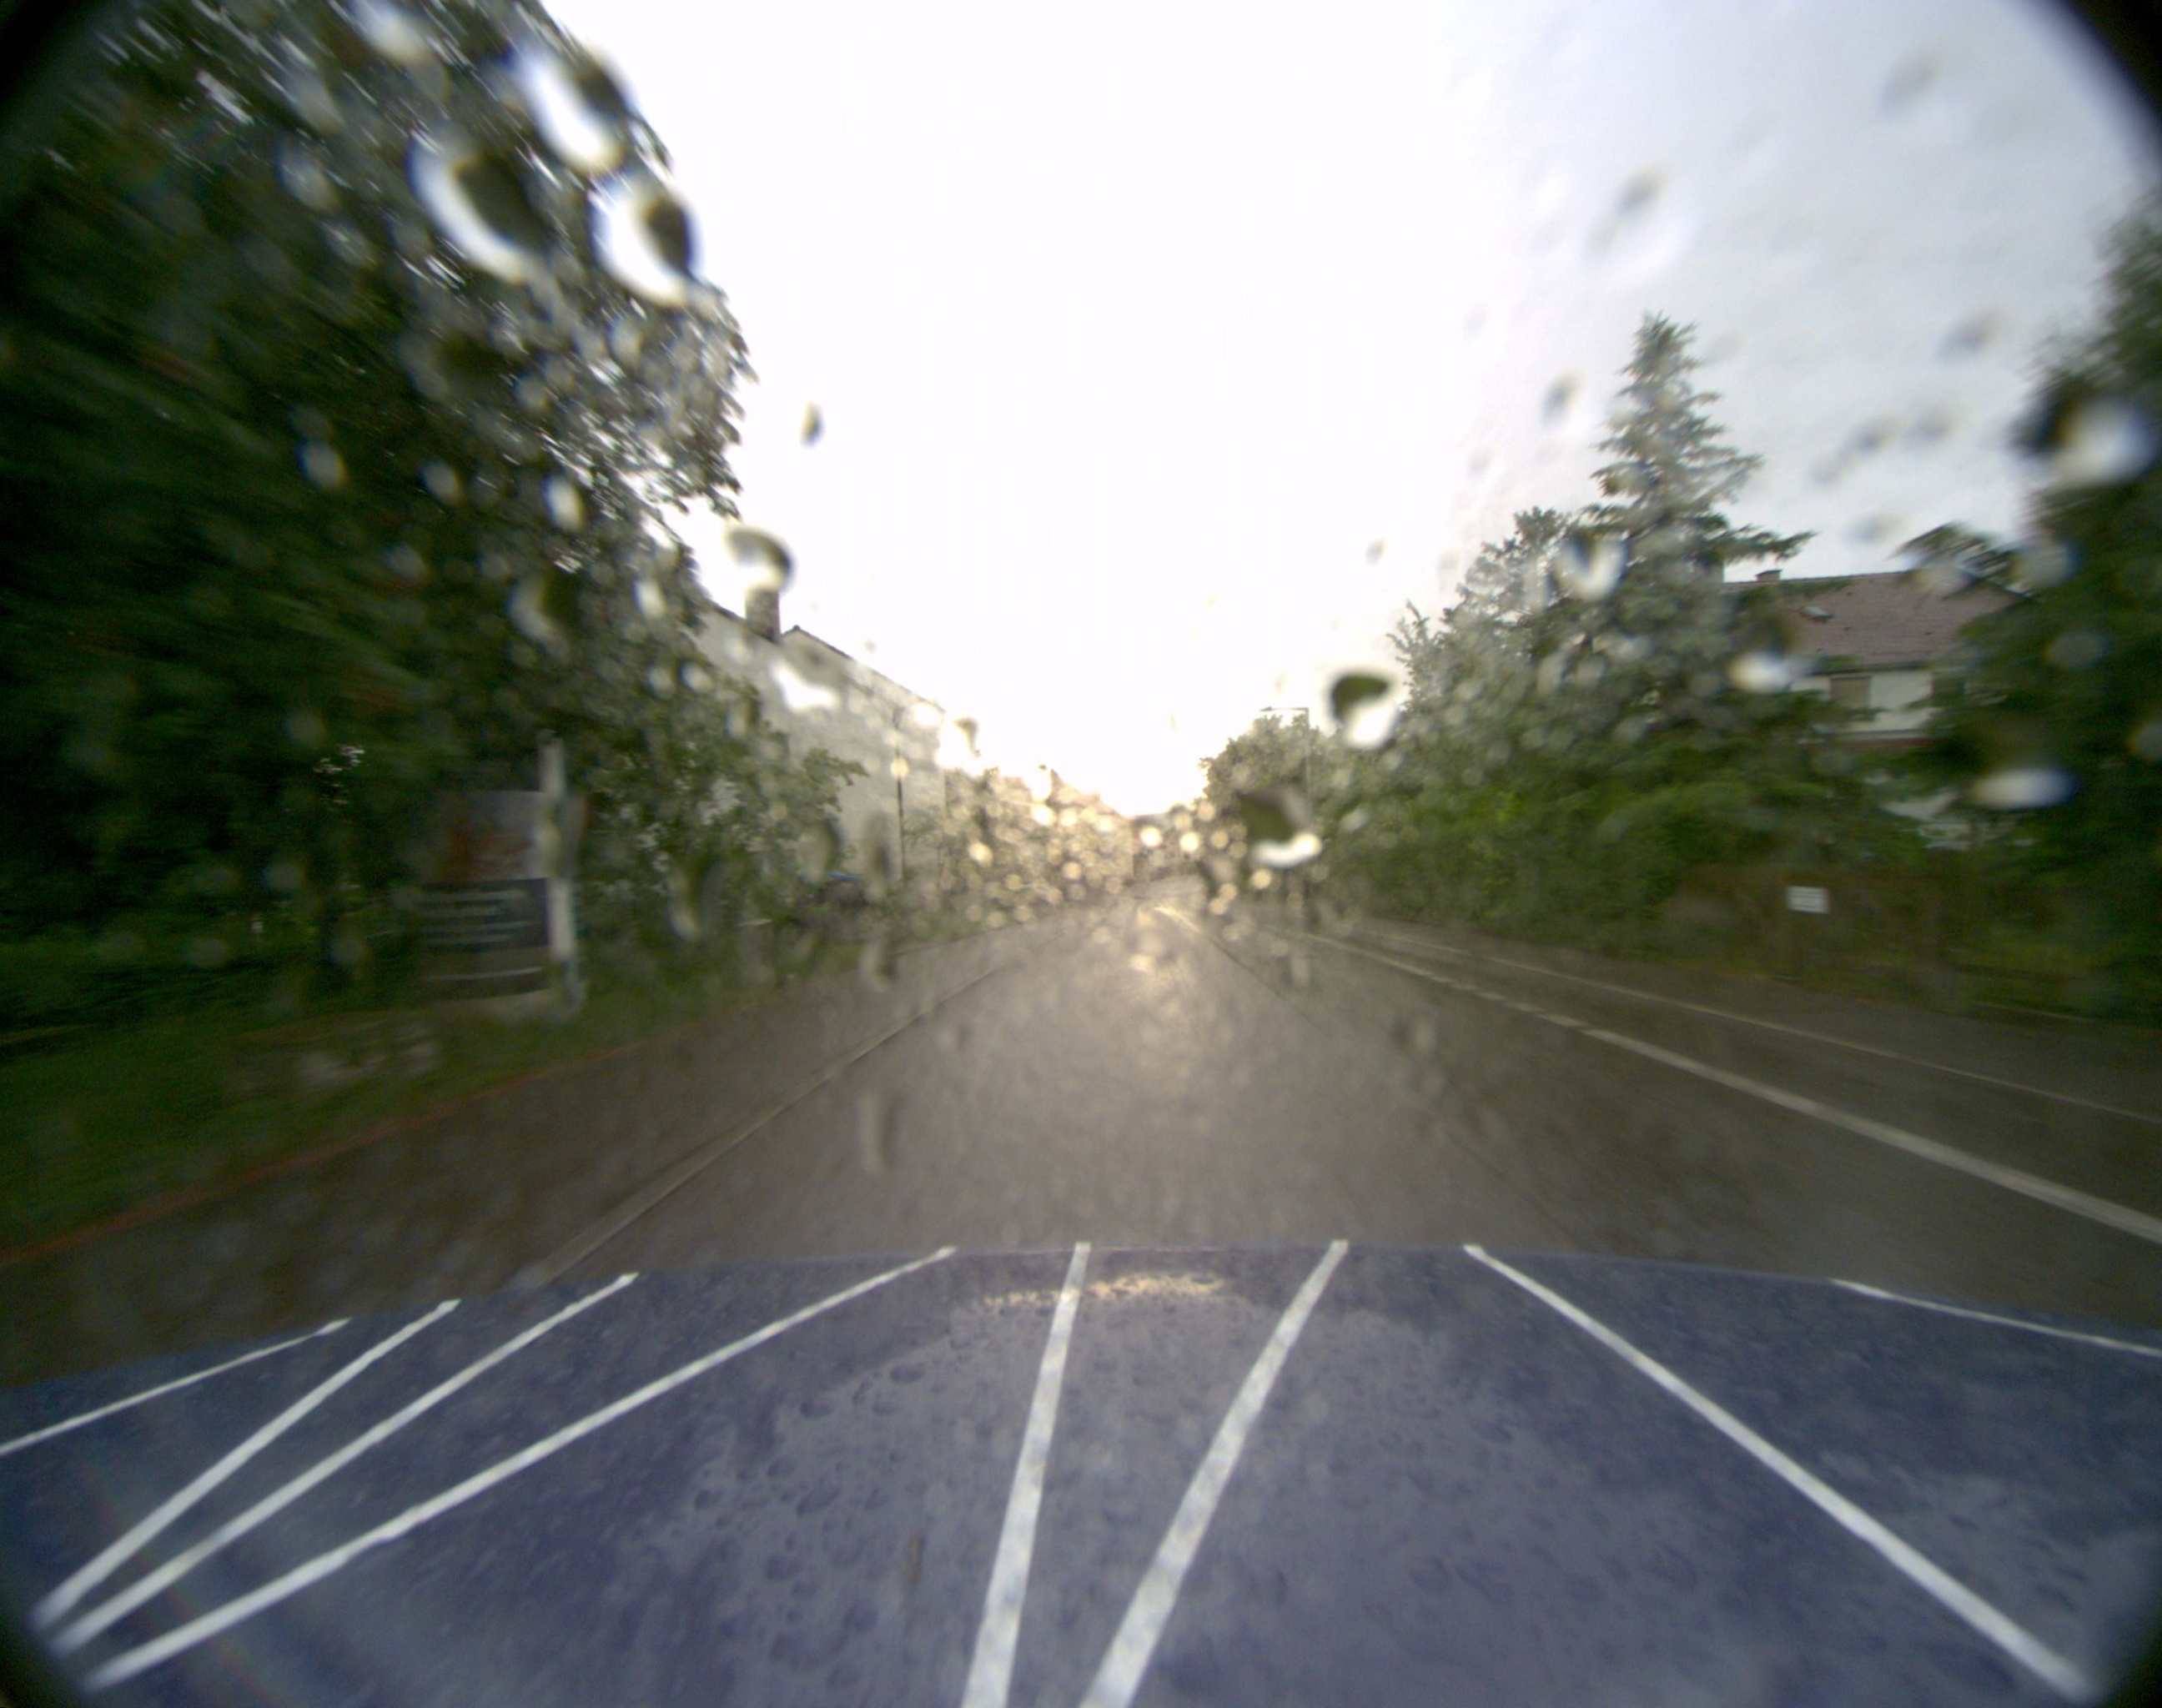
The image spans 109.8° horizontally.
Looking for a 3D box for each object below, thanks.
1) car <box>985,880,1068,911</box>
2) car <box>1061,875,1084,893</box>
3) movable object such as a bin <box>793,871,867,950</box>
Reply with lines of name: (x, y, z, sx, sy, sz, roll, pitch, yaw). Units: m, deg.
car: (-3.023, 2.352, 42.803, 4.538, 1.650, 1.856, -1, -2, -1)
car: (-0.921, 3.169, 80.354, 1.725, 1.554, 3.789, 1, 2, -12)
movable object such as a bin: (-5.049, 1.100, 15.266, 1.246, 1.488, 0.981, 0, -2, -29)
